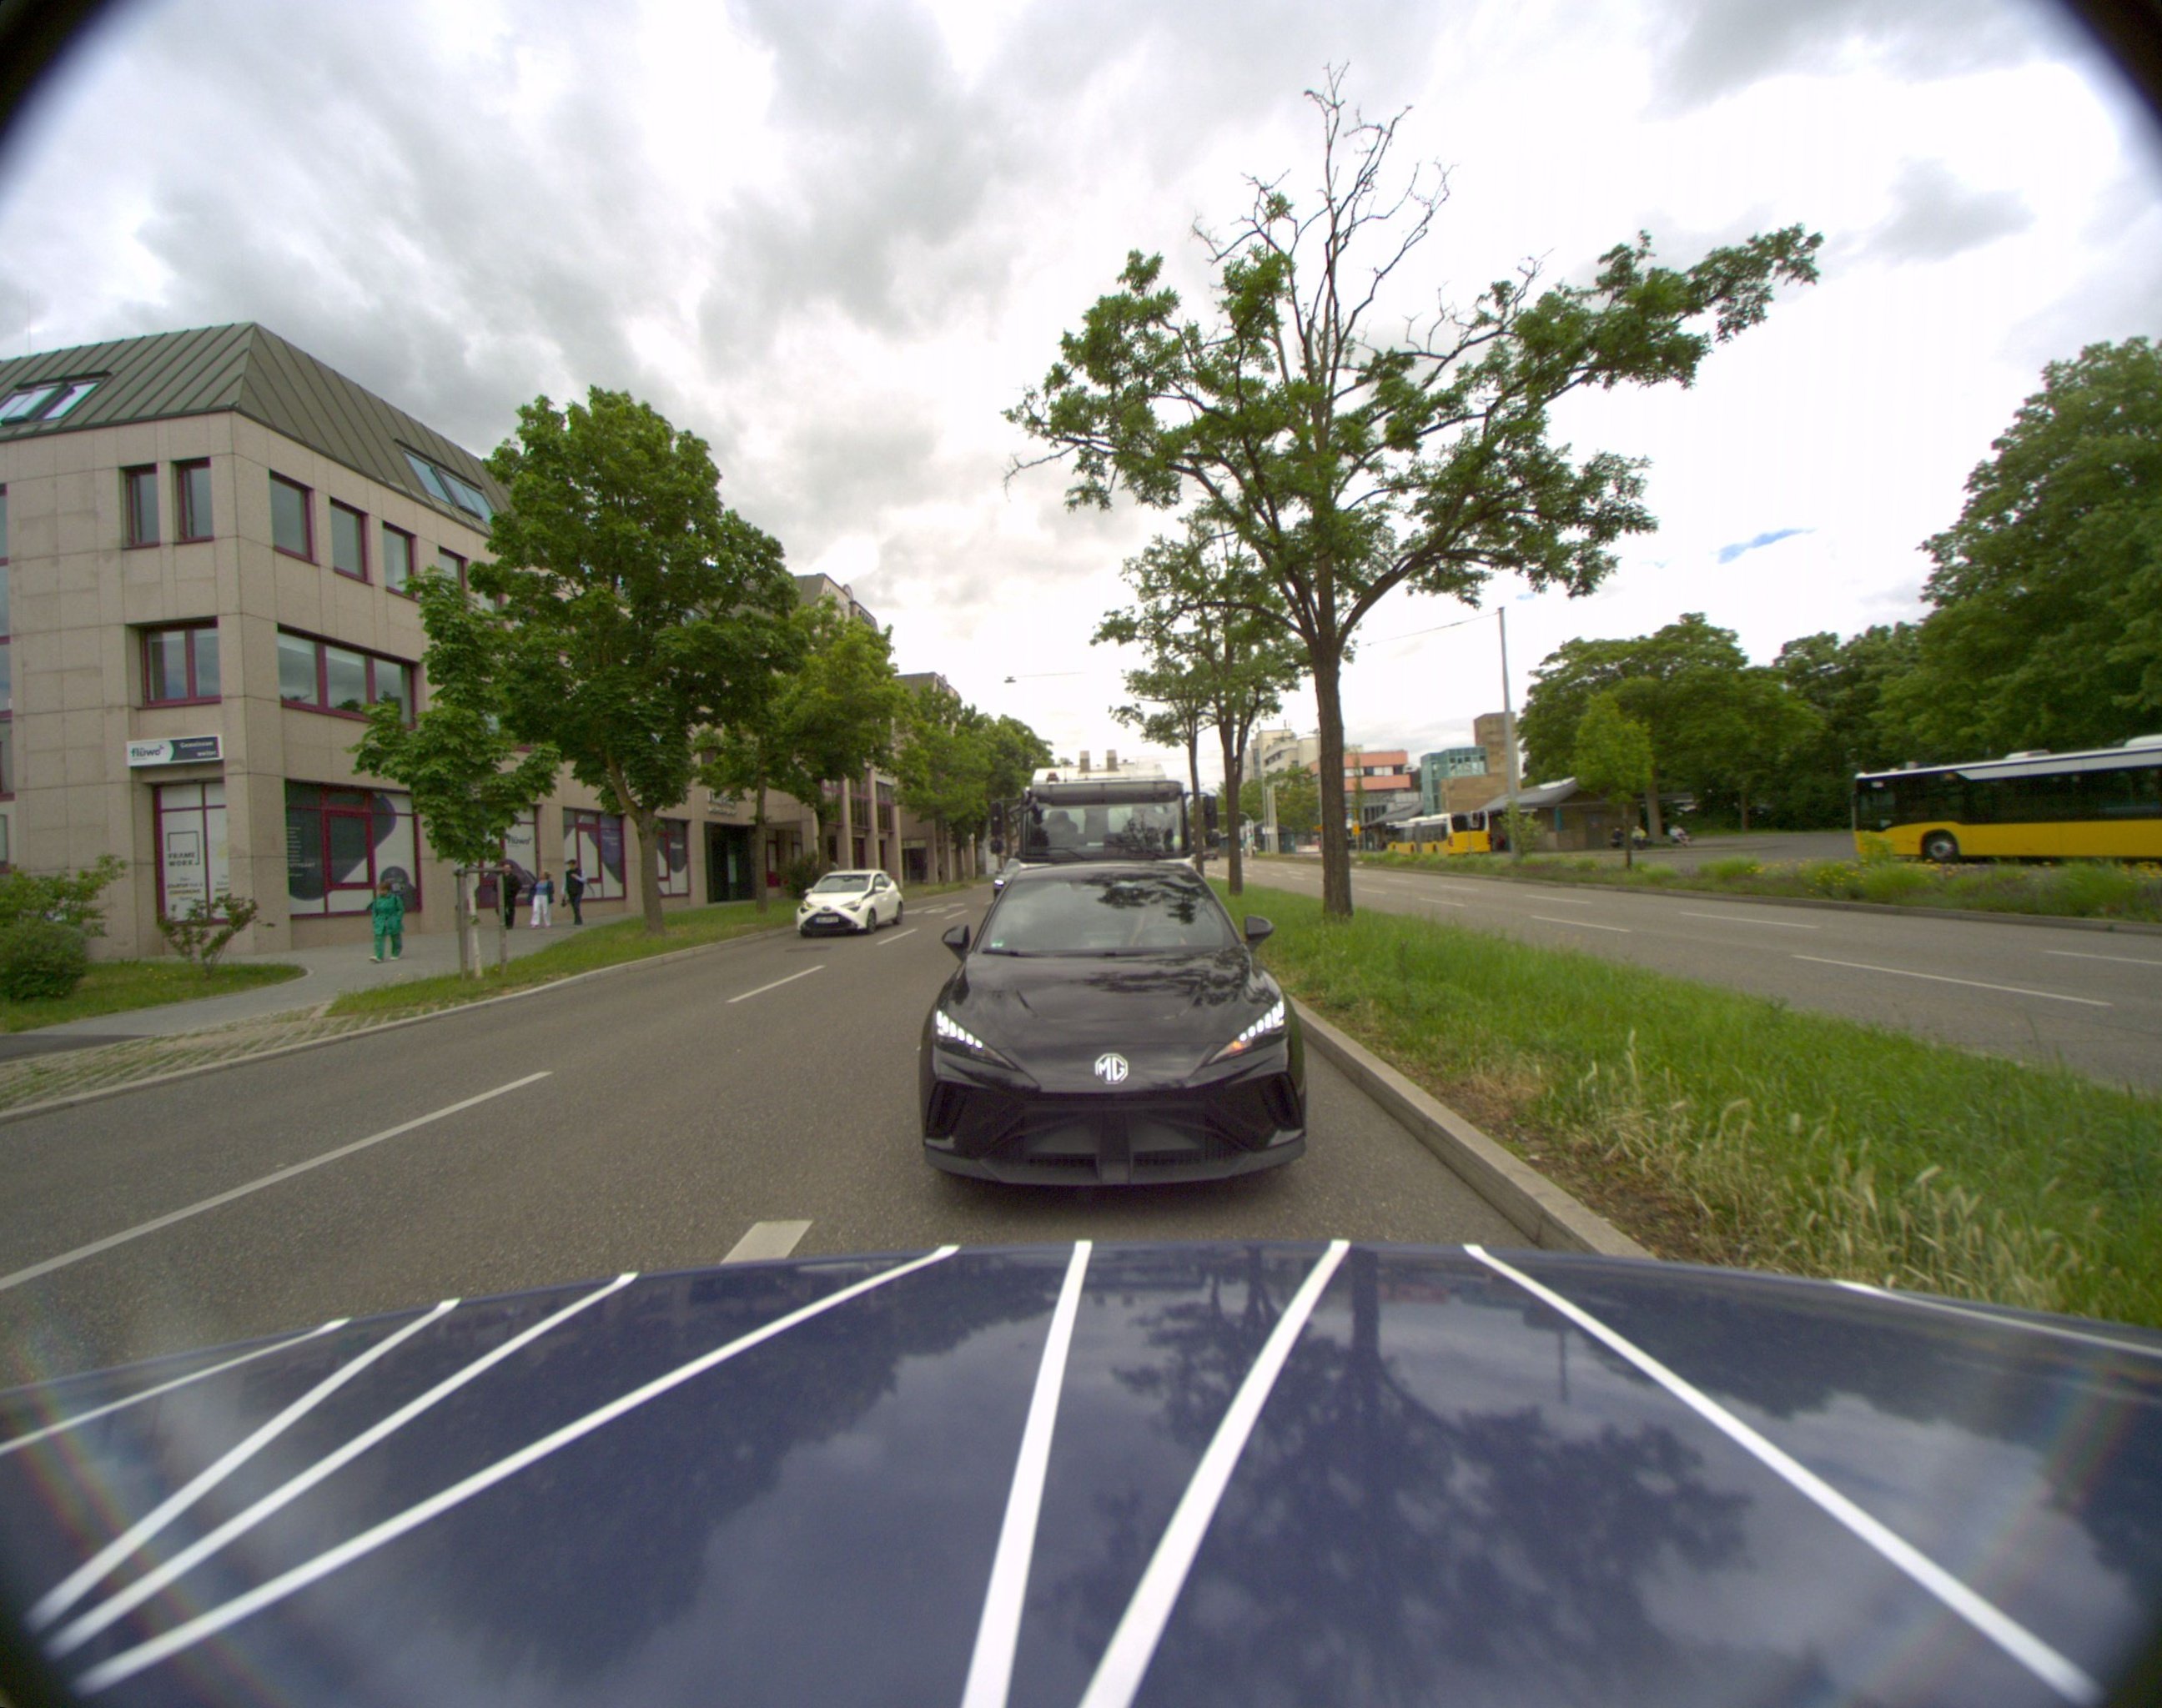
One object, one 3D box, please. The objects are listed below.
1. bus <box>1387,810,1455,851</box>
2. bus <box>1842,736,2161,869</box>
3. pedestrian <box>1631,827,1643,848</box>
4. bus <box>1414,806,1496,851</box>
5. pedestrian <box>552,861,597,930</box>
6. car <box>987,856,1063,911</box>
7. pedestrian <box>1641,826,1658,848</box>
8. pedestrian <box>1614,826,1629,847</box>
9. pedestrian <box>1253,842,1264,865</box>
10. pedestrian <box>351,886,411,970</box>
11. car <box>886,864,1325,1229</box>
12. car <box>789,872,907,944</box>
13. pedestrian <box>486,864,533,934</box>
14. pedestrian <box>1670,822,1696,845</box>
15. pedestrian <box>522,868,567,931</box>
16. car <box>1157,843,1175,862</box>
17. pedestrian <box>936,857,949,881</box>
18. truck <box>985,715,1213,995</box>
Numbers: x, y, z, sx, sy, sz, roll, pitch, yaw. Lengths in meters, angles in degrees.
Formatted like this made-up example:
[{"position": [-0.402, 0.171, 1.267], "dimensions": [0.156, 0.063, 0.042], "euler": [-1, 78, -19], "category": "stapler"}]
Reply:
[{"position": [27.742, -1.827, 62.433], "dimensions": [2.887, 2.985, 9.182], "euler": [-3, 0, 10], "category": "bus"}, {"position": [25.940, -1.241, 19.612], "dimensions": [2.888, 2.985, 10.397], "euler": [-3, 0, 6], "category": "bus"}, {"position": [30.225, -0.895, 41.294], "dimensions": [0.367, 1.160, 0.899], "euler": [-2, 1, 26], "category": "pedestrian"}, {"position": [26.105, -1.674, 53.587], "dimensions": [2.887, 2.793, 9.183], "euler": [-3, 0, 11], "category": "bus"}, {"position": [-13.604, 1.111, 20.424], "dimensions": [0.642, 1.795, 0.677], "euler": [-3, 1, 1], "category": "pedestrian"}, {"position": [-1.774, 0.928, 25.606], "dimensions": [1.896, 1.586, 4.314], "euler": [-3, 0, 4], "category": "car"}, {"position": [30.659, -0.908, 40.988], "dimensions": [0.598, 1.155, 0.744], "euler": [-2, 1, 26], "category": "pedestrian"}, {"position": [30.715, -0.973, 43.161], "dimensions": [0.598, 1.155, 0.744], "euler": [-2, 1, 30], "category": "pedestrian"}, {"position": [21.711, -0.046, 92.811], "dimensions": [1.145, 2.772, 0.905], "euler": [-2, 1, 8], "category": "pedestrian"}, {"position": [-13.181, 1.383, 14.319], "dimensions": [0.496, 1.510, 0.677], "euler": [0, 1, 1], "category": "pedestrian"}, {"position": [0.133, 0.863, 5.277], "dimensions": [1.827, 1.430, 4.000], "euler": [-3, 0, 1], "category": "car"}, {"position": [-5.424, 1.196, 18.129], "dimensions": [1.657, 1.417, 3.535], "euler": [-2, 0, 1], "category": "car"}, {"position": [-15.153, 1.174, 20.150], "dimensions": [0.642, 1.795, 0.677], "euler": [-3, 1, 1], "category": "pedestrian"}, {"position": [31.968, -1.087, 40.352], "dimensions": [0.650, 1.165, 0.925], "euler": [-2, 1, 1], "category": "pedestrian"}, {"position": [-14.331, 1.206, 20.314], "dimensions": [0.642, 1.637, 0.677], "euler": [-3, 1, 1], "category": "pedestrian"}, {"position": [9.460, -0.161, 84.905], "dimensions": [1.726, 2.002, 4.001], "euler": [-3, 0, 3], "category": "car"}, {"position": [-10.722, 1.186, 58.958], "dimensions": [0.719, 1.811, 0.949], "euler": [-2, 1, 1], "category": "pedestrian"}, {"position": [0.328, 0.010, 12.653], "dimensions": [2.544, 3.187, 7.369], "euler": [-3, 0, 2], "category": "truck"}]
